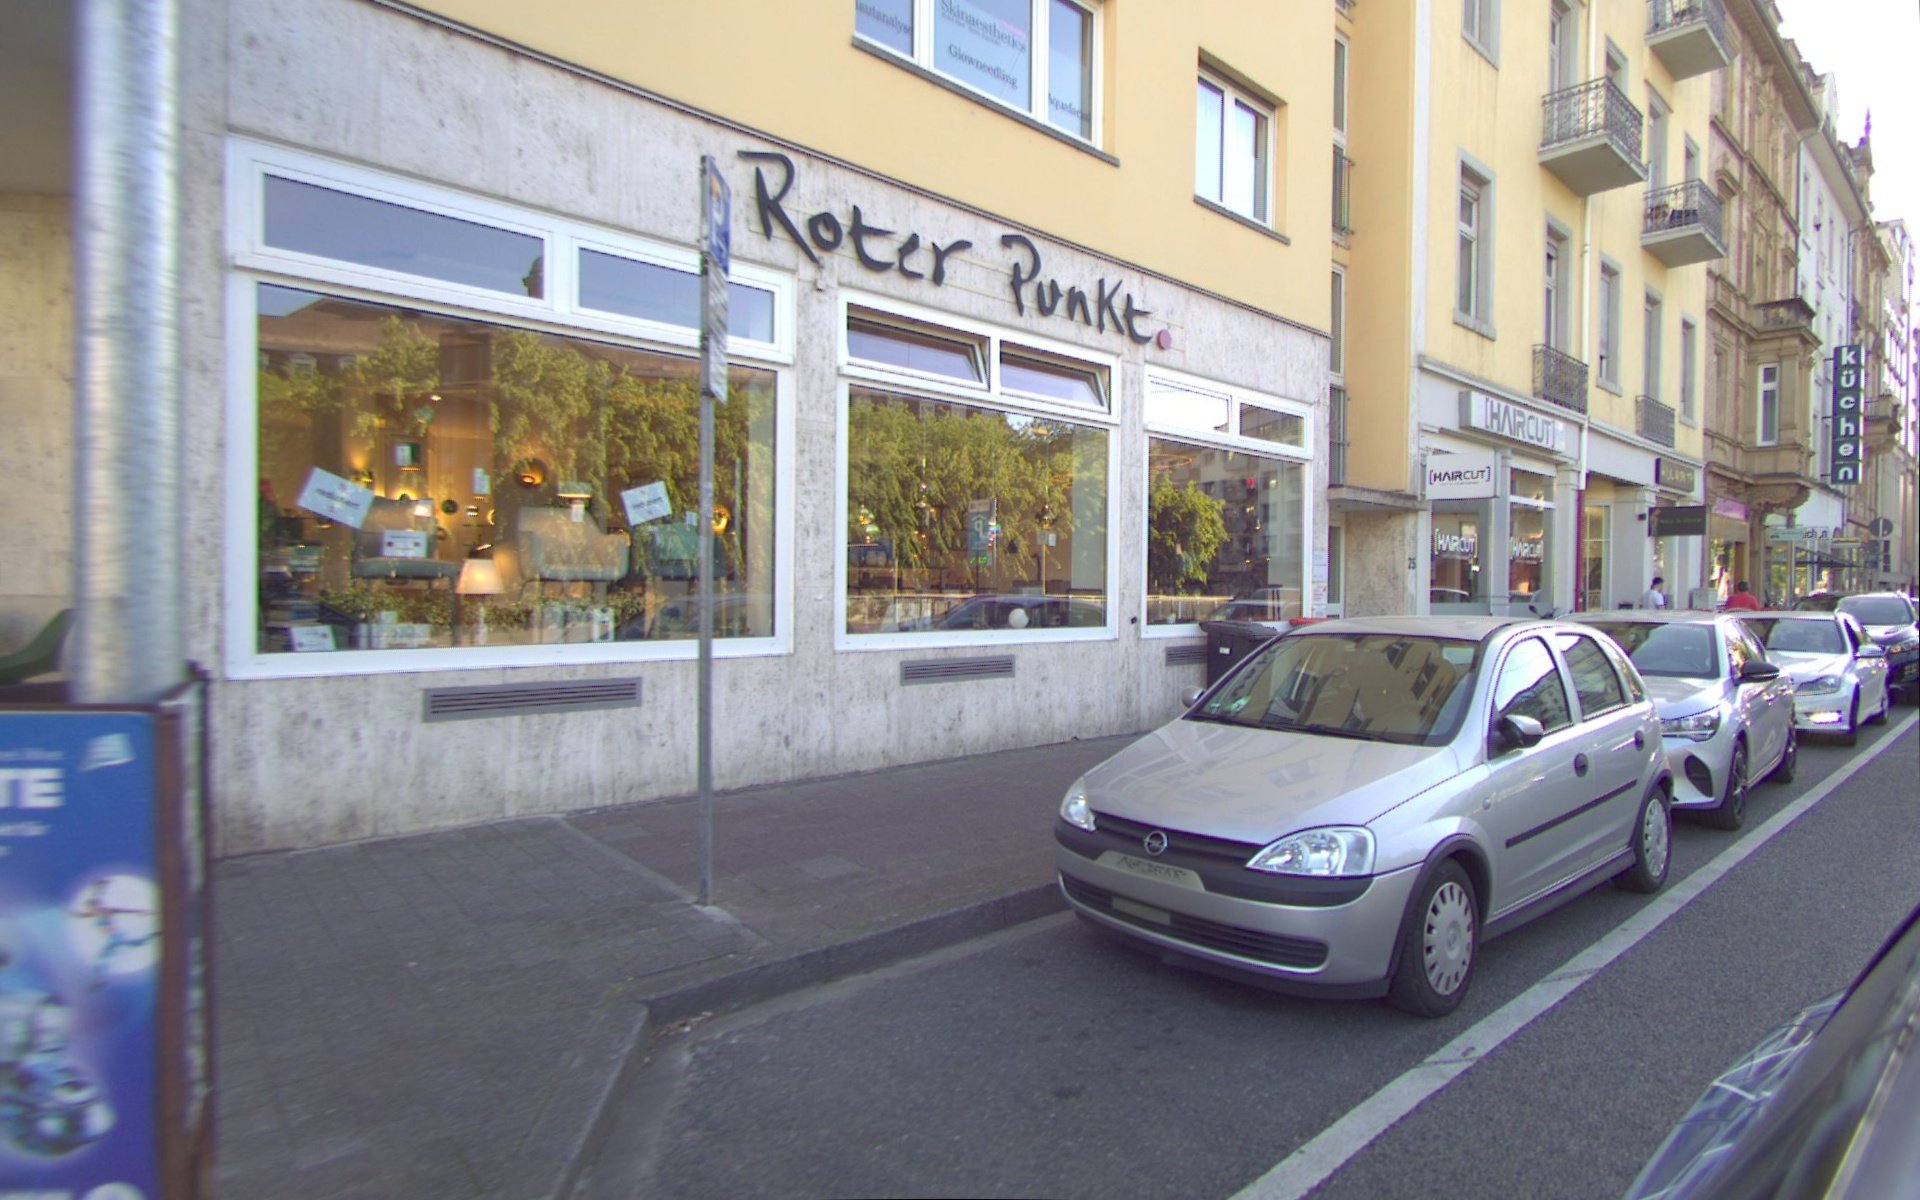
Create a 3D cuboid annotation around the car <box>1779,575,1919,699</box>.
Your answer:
[{"bbox_3d":[14.576,0.507,16.192,1.853,1.719,4.623,1,1,44],"label":"car"}]

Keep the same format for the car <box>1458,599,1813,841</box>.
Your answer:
[{"bbox_3d":[5.407,0.713,7.913,1.650,1.416,3.646,1,1,45],"label":"car"}]

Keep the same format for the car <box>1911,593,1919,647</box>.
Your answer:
[{"bbox_3d":[28.576,0.570,28.951,3.931,1.505,1.713,0,1,-42],"label":"car"}]

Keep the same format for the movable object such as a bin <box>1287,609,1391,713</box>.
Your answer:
[{"bbox_3d":[4.227,0.652,11.287,0.878,1.067,0.752,0,1,-41],"label":"movable object such as a bin"}]

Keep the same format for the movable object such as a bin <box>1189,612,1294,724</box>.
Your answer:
[{"bbox_3d":[2.803,0.649,10.093,0.591,1.041,0.812,0,1,-40],"label":"movable object such as a bin"}]

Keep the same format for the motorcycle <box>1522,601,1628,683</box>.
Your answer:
[{"bbox_3d":[9.902,0.636,16.257,2.208,1.179,0.773,0,3,-41],"label":"motorcycle"}]

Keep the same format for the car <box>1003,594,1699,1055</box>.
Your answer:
[{"bbox_3d":[2.063,0.689,4.870,3.578,1.399,1.616,0,-1,-40],"label":"car"}]

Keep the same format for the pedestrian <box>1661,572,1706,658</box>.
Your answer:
[{"bbox_3d":[14.211,0.283,19.885,0.631,1.637,0.572,0,0,-40],"label":"pedestrian"}]

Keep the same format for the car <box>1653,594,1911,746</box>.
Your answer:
[{"bbox_3d":[9.982,0.686,12.155,4.519,1.480,1.756,0,1,-42],"label":"car"}]

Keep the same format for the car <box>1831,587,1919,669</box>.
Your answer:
[{"bbox_3d":[19.312,0.534,20.817,2.965,1.588,1.695,0,0,-41],"label":"car"}]

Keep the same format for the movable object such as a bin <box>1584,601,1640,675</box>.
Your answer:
[{"bbox_3d":[11.109,0.636,17.245,0.633,1.223,0.647,1,0,-41],"label":"movable object such as a bin"}]

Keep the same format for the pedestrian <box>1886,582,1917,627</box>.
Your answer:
[{"bbox_3d":[35.217,0.155,37.836,0.750,1.637,0.794,0,0,-43],"label":"pedestrian"}]

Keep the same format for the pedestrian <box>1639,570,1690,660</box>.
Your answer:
[{"bbox_3d":[13.126,0.264,18.860,0.689,1.637,0.641,0,0,-42],"label":"pedestrian"}]

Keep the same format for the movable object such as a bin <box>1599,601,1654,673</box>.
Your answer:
[{"bbox_3d":[11.617,0.633,17.637,0.633,1.223,0.647,1,0,-41],"label":"movable object such as a bin"}]

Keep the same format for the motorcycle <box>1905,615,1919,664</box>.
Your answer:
[{"bbox_3d":[25.718,1.035,26.329,1.514,1.248,0.771,1,0,1],"label":"motorcycle"}]

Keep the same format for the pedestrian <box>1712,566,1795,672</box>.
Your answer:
[{"bbox_3d":[14.420,0.326,18.391,0.990,1.805,0.867,0,5,-39],"label":"pedestrian"}]
